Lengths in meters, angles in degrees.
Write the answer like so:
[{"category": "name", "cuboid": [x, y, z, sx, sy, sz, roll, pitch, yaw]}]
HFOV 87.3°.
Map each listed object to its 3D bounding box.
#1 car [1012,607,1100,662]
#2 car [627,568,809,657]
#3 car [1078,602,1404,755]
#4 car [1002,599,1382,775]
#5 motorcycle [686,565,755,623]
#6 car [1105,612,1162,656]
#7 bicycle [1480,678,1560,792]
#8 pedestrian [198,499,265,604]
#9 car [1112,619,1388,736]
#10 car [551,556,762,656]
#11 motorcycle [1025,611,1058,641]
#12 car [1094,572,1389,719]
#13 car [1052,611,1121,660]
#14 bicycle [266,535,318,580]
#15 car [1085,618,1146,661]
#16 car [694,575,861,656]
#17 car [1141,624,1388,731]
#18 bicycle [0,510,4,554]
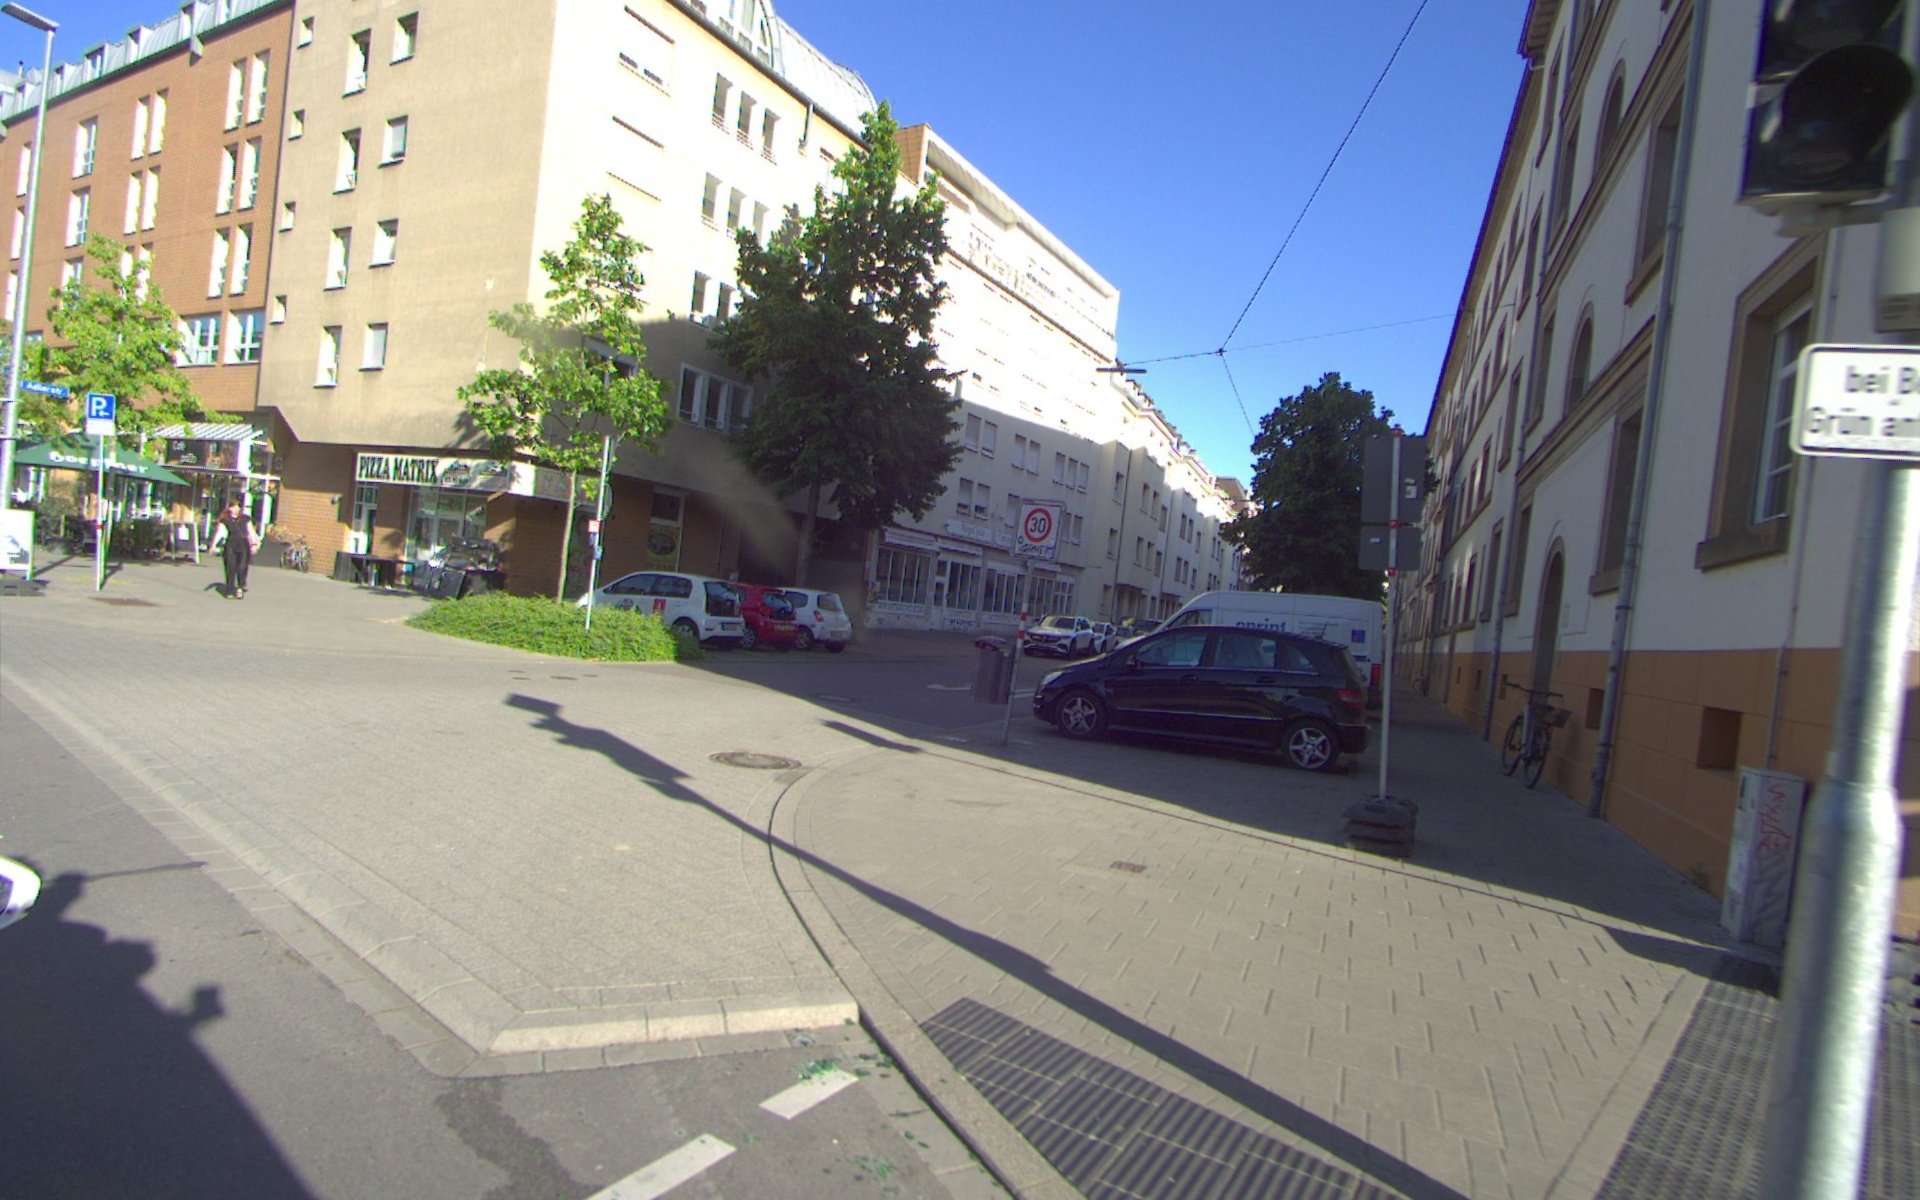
[{"category": "car", "cuboid": [3.702, 1.327, 38.231, 1.963, 1.719, 4.395, 7, 0, 22]}, {"category": "car", "cuboid": [-5.481, 0.291, 22.852, 3.589, 1.469, 1.638, 7, -2, 22]}, {"category": "car", "cuboid": [4.156, 1.117, 15.130, 4.357, 1.707, 1.629, 5, -1, 20]}, {"category": "car", "cuboid": [2.920, 1.029, 12.732, 4.360, 1.705, 1.698, 4, -3, 24]}, {"category": "motorcycle", "cuboid": [-7.532, -0.168, 31.791, 0.641, 1.626, 2.263, 7, 0, 28]}, {"category": "car", "cuboid": [8.868, 1.765, 51.172, 1.897, 1.820, 4.183, 7, -2, 21]}, {"category": "bicycle", "cuboid": [6.745, 1.583, 12.183, 0.399, 1.179, 1.810, 5, 0, 18]}, {"category": "pedestrian", "cuboid": [-13.253, -0.879, 18.327, 0.878, 1.786, 1.095, 4, 2, -35]}, {"category": "car", "cuboid": [5.058, 1.334, 17.716, 4.358, 1.445, 1.699, 6, -2, 21]}, {"category": "car", "cuboid": [-6.235, 0.127, 20.704, 3.765, 1.491, 1.669, 7, -2, 20]}, {"category": "motorcycle", "cuboid": [4.098, 1.293, 50.456, 0.641, 1.338, 2.263, 7, 0, 28]}, {"category": "car", "cuboid": [6.140, 0.938, 22.198, 5.853, 2.641, 1.928, 4, 0, 21]}, {"category": "car", "cuboid": [5.418, 1.554, 42.637, 1.792, 1.658, 4.002, 7, -2, 22]}, {"category": "bicycle", "cuboid": [-20.467, -1.301, 30.817, 1.510, 1.185, 0.614, 7, 2, 28]}, {"category": "car", "cuboid": [7.312, 1.879, 47.007, 1.760, 1.607, 4.003, 7, -2, 22]}, {"category": "car", "cuboid": [-4.552, 0.375, 25.077, 3.667, 1.472, 1.638, 7, -2, 25]}, {"category": "car", "cuboid": [5.957, 1.496, 19.820, 4.358, 1.496, 1.699, 6, -2, 22]}, {"category": "bicycle", "cuboid": [-25.186, -1.780, 25.529, 1.963, 1.097, 0.765, 5, 5, 28]}]
